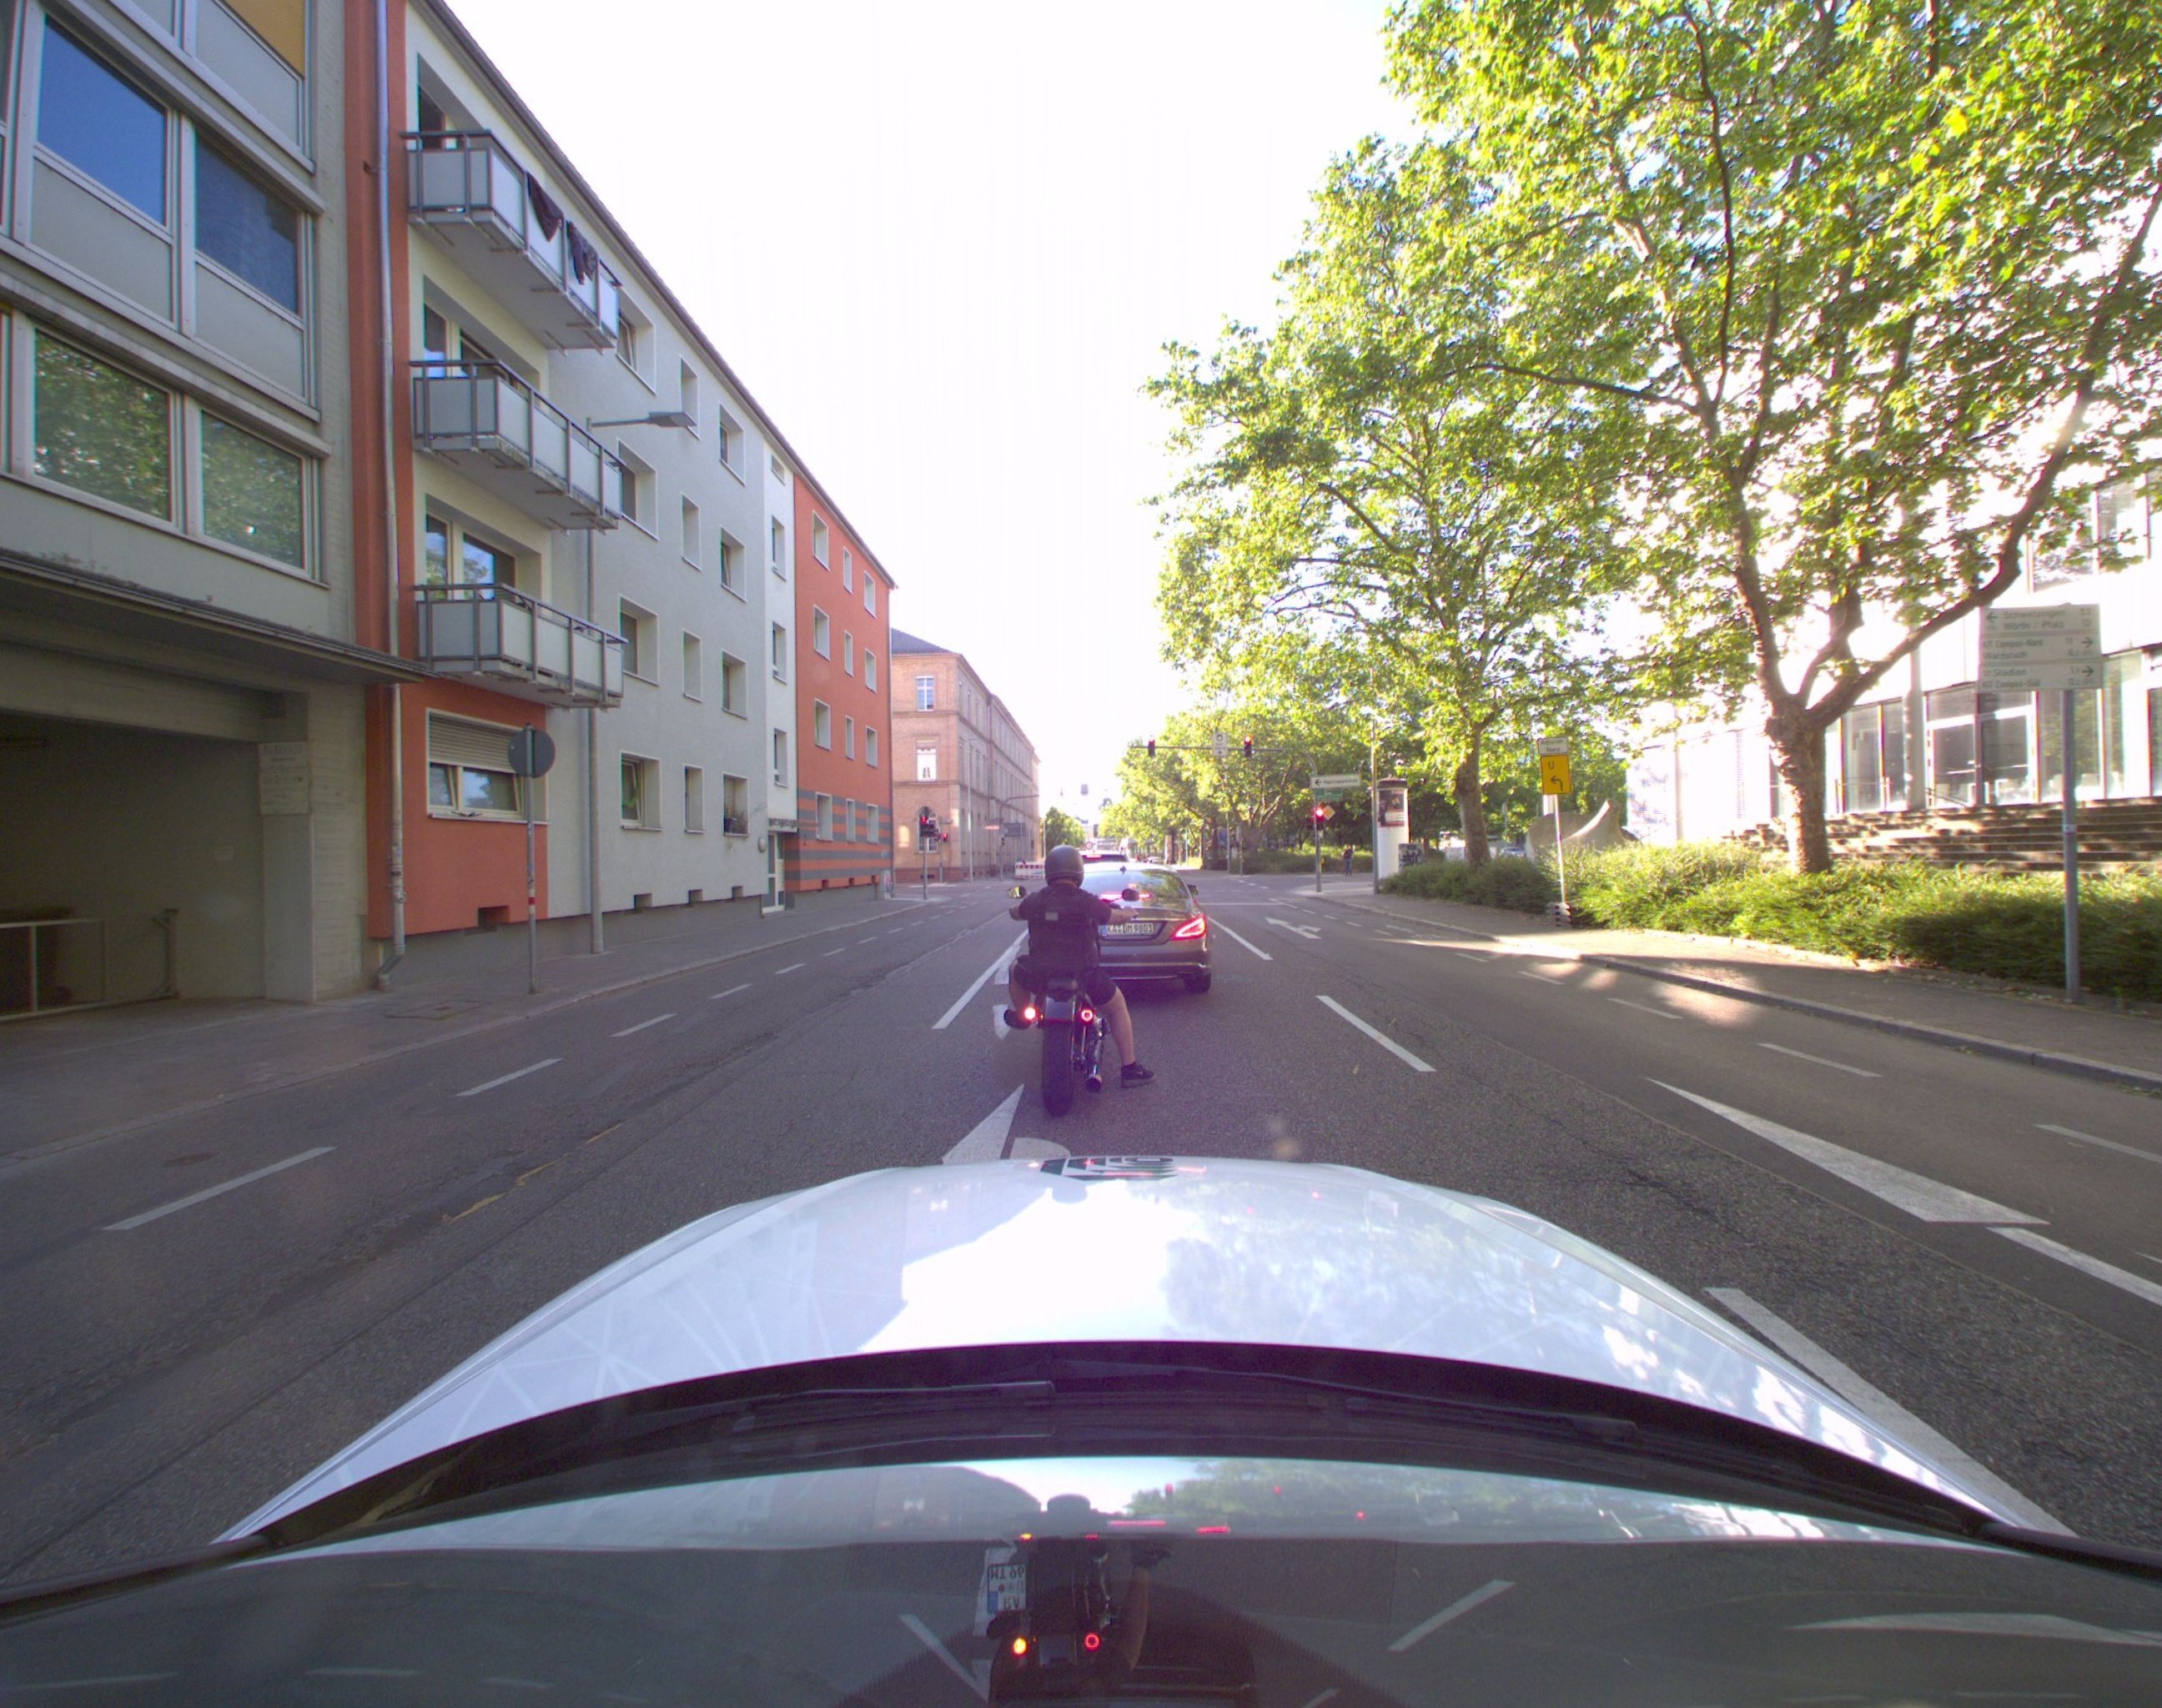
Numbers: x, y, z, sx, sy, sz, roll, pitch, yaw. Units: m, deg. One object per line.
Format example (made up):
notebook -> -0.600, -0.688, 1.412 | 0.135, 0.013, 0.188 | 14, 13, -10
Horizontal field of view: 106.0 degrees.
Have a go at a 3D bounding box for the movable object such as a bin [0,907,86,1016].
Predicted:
movable object such as a bin -> -11.283, 1.120, 8.647 | 0.533, 1.079, 0.723 | 0, -1, 3

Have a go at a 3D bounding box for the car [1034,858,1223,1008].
car -> 0.521, 0.780, 9.780 | 1.815, 1.437, 3.807 | 0, -1, 2

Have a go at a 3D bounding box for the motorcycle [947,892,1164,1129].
motorcycle -> -0.041, 0.913, 5.623 | 1.111, 1.207, 2.217 | -1, -1, 8

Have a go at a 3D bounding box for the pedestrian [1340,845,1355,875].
pedestrian -> 16.072, 0.349, 49.129 | 0.728, 1.778, 0.734 | -1, -1, 32

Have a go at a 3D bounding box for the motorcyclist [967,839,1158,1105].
motorcyclist -> -0.069, 0.705, 5.404 | 1.093, 1.566, 1.074 | -1, -1, 8

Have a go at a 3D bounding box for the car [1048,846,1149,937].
car -> 0.381, 0.712, 17.068 | 1.856, 1.678, 4.001 | 0, -1, 2

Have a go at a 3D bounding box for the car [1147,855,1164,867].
car -> 8.104, 0.769, 88.623 | 1.625, 1.259, 3.717 | 0, -1, 2
